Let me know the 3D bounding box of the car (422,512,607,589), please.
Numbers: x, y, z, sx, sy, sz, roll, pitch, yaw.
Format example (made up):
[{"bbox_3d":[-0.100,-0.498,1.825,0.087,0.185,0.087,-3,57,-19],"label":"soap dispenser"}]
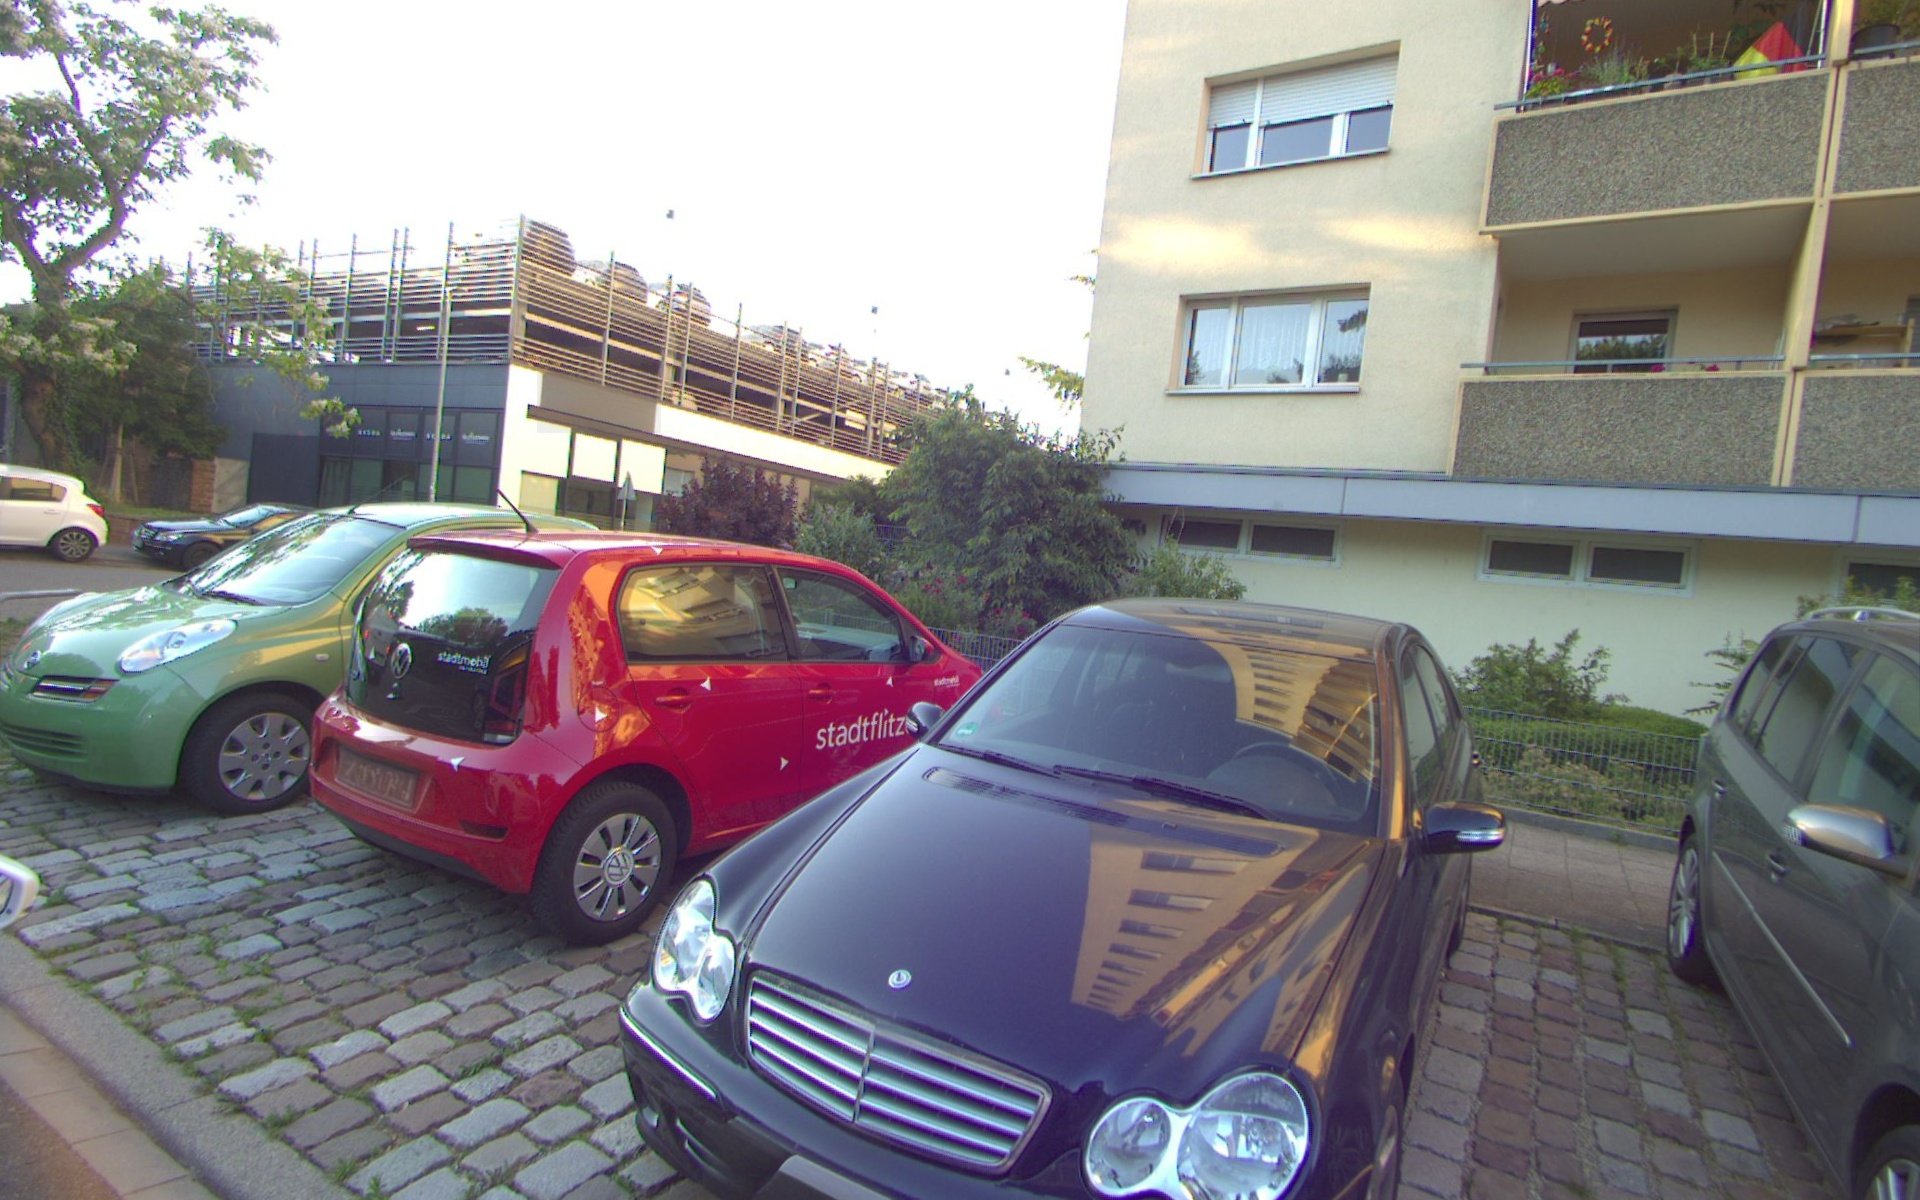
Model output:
[{"bbox_3d":[-11.151,-1.212,25.384,1.794,1.523,3.835,7,2,35],"label":"car"}]

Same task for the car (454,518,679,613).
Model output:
[{"bbox_3d":[-7.904,-0.656,20.495,1.794,1.544,3.835,7,2,35],"label":"car"}]

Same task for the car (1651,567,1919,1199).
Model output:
[{"bbox_3d":[3.297,0.833,2.655,1.814,1.684,4.405,5,3,28],"label":"car"}]

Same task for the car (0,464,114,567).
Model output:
[{"bbox_3d":[-17.177,-1.618,17.020,1.924,1.594,3.861,8,1,29],"label":"car"}]

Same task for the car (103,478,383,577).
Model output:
[{"bbox_3d":[-14.578,-1.432,20.696,1.794,1.523,4.290,7,2,35],"label":"car"}]

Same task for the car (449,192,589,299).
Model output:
[{"bbox_3d":[-13.263,-10.547,30.209,3.938,2.039,1.994,7,0,36],"label":"car"}]

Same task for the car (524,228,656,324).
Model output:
[{"bbox_3d":[-11.943,-10.347,32.415,3.938,2.039,1.994,7,0,36],"label":"car"}]

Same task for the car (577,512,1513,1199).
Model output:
[{"bbox_3d":[0.979,0.686,3.847,1.814,1.551,4.407,5,1,28],"label":"car"}]

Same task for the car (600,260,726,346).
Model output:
[{"bbox_3d":[-10.229,-10.124,34.581,3.938,2.039,1.994,7,0,36],"label":"car"}]

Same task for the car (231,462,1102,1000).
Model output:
[{"bbox_3d":[-1.043,0.323,5.478,1.815,1.655,4.398,7,5,32],"label":"car"}]

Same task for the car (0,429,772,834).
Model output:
[{"bbox_3d":[-3.370,0.122,6.471,1.814,1.653,4.407,5,1,28],"label":"car"}]
